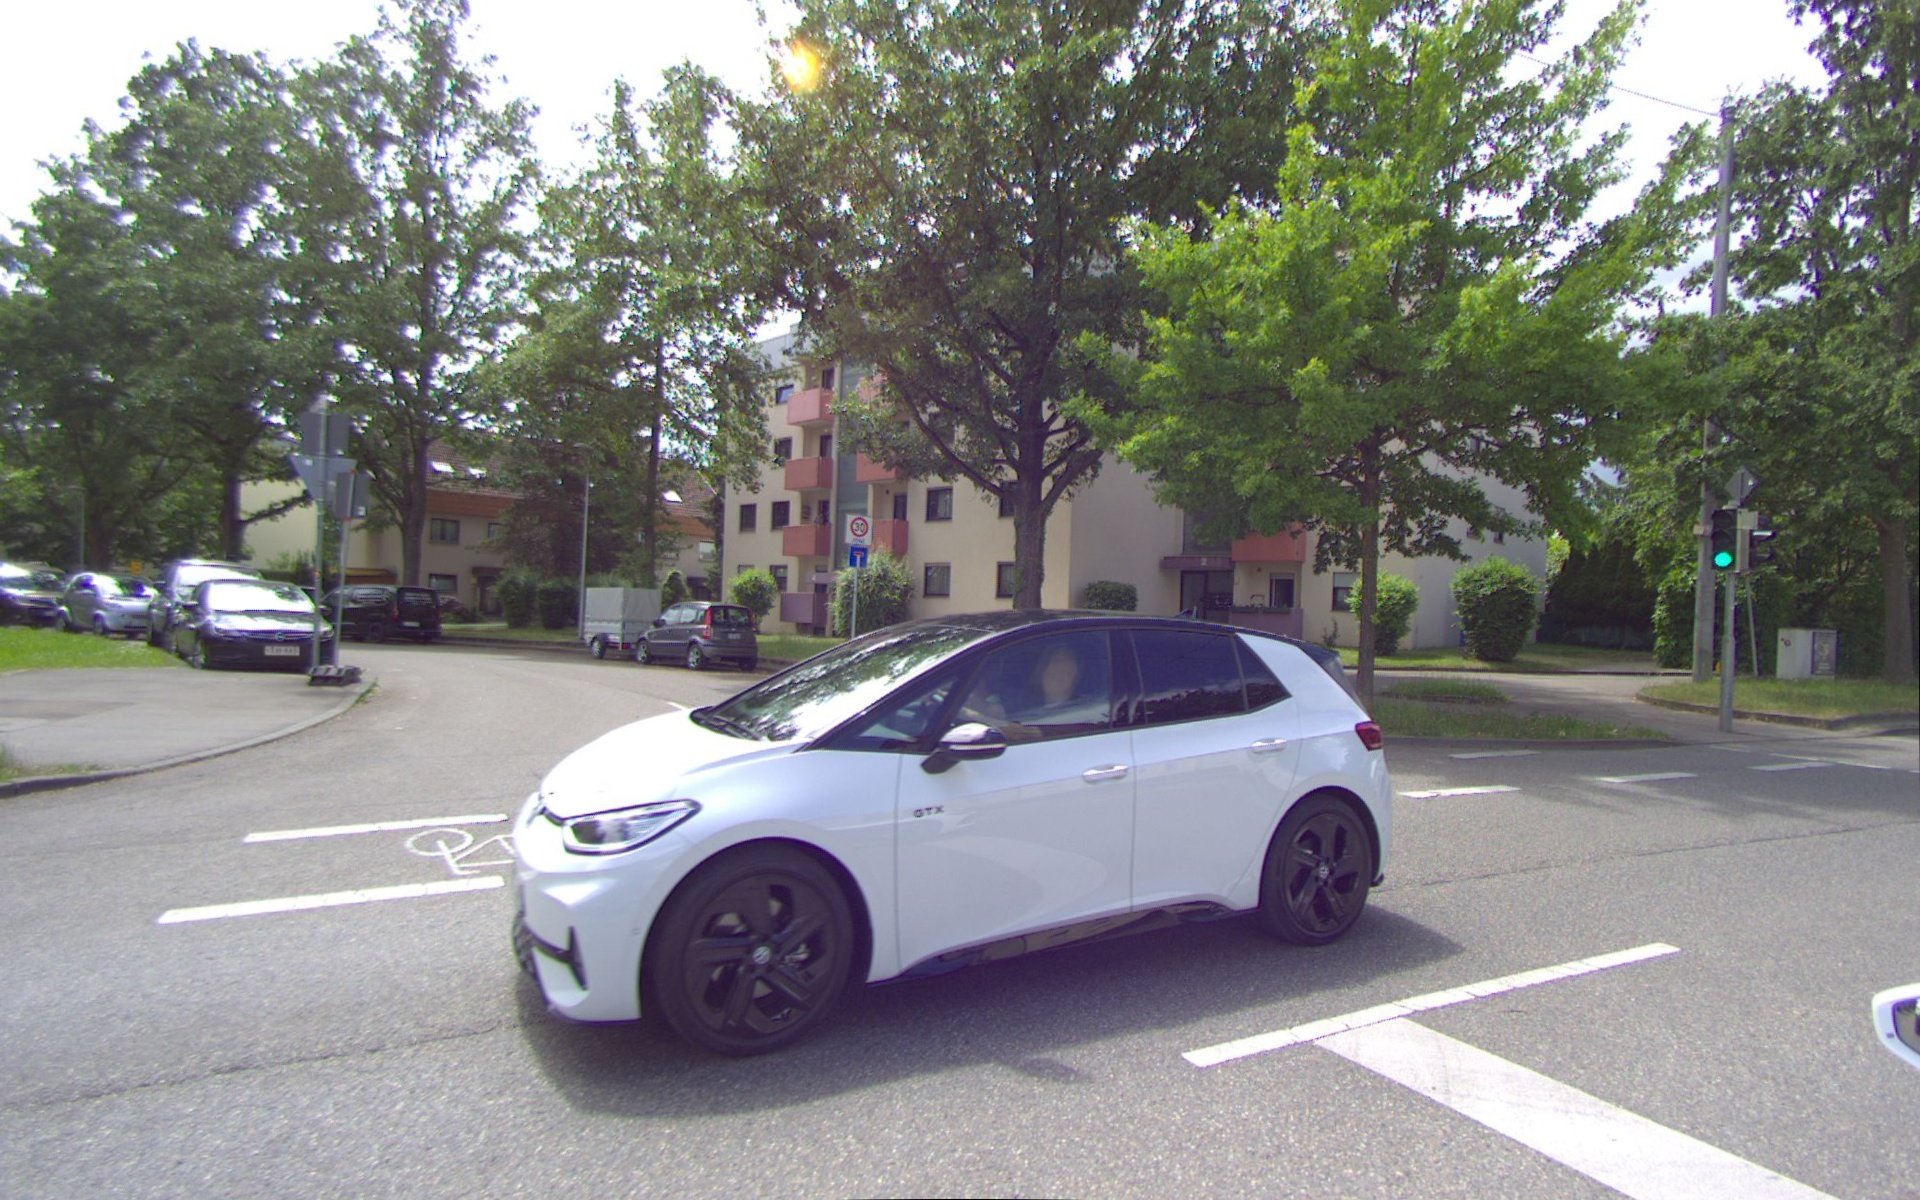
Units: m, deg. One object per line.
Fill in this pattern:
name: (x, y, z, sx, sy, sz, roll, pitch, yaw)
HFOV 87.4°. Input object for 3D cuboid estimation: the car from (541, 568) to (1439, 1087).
car: (0.204, 0.787, 4.897, 3.951, 1.600, 1.891, 3, -2, -29)

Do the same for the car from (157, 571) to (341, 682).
car: (-11.705, 0.359, 16.429, 4.095, 1.417, 1.727, 5, 2, 44)

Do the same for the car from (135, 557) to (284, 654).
car: (-15.683, 0.065, 20.895, 1.859, 1.675, 4.373, 2, 2, -45)

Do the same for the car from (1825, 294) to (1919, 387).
car: (24.195, -6.515, 25.511, 3.945, 1.347, 1.823, 4, 1, -24)

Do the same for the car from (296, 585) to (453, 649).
car: (-18.373, 0.501, 31.522, 4.334, 1.818, 2.125, 1, 0, 24)

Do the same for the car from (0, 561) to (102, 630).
car: (-24.592, -0.141, 26.386, 3.925, 1.686, 1.715, 1, 0, 26)

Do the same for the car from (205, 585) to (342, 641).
car: (-23.322, 0.415, 34.135, 4.193, 1.725, 1.942, 1, 0, 24)

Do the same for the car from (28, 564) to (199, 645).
car: (-20.456, 0.087, 24.268, 3.926, 1.818, 1.763, 1, 0, 27)

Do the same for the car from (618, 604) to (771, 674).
car: (-6.340, 0.865, 23.762, 3.944, 1.472, 1.686, 1, 0, 44)

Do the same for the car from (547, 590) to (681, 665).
car: (-9.321, 0.756, 26.927, 3.946, 1.869, 1.835, -2, -2, 44)
